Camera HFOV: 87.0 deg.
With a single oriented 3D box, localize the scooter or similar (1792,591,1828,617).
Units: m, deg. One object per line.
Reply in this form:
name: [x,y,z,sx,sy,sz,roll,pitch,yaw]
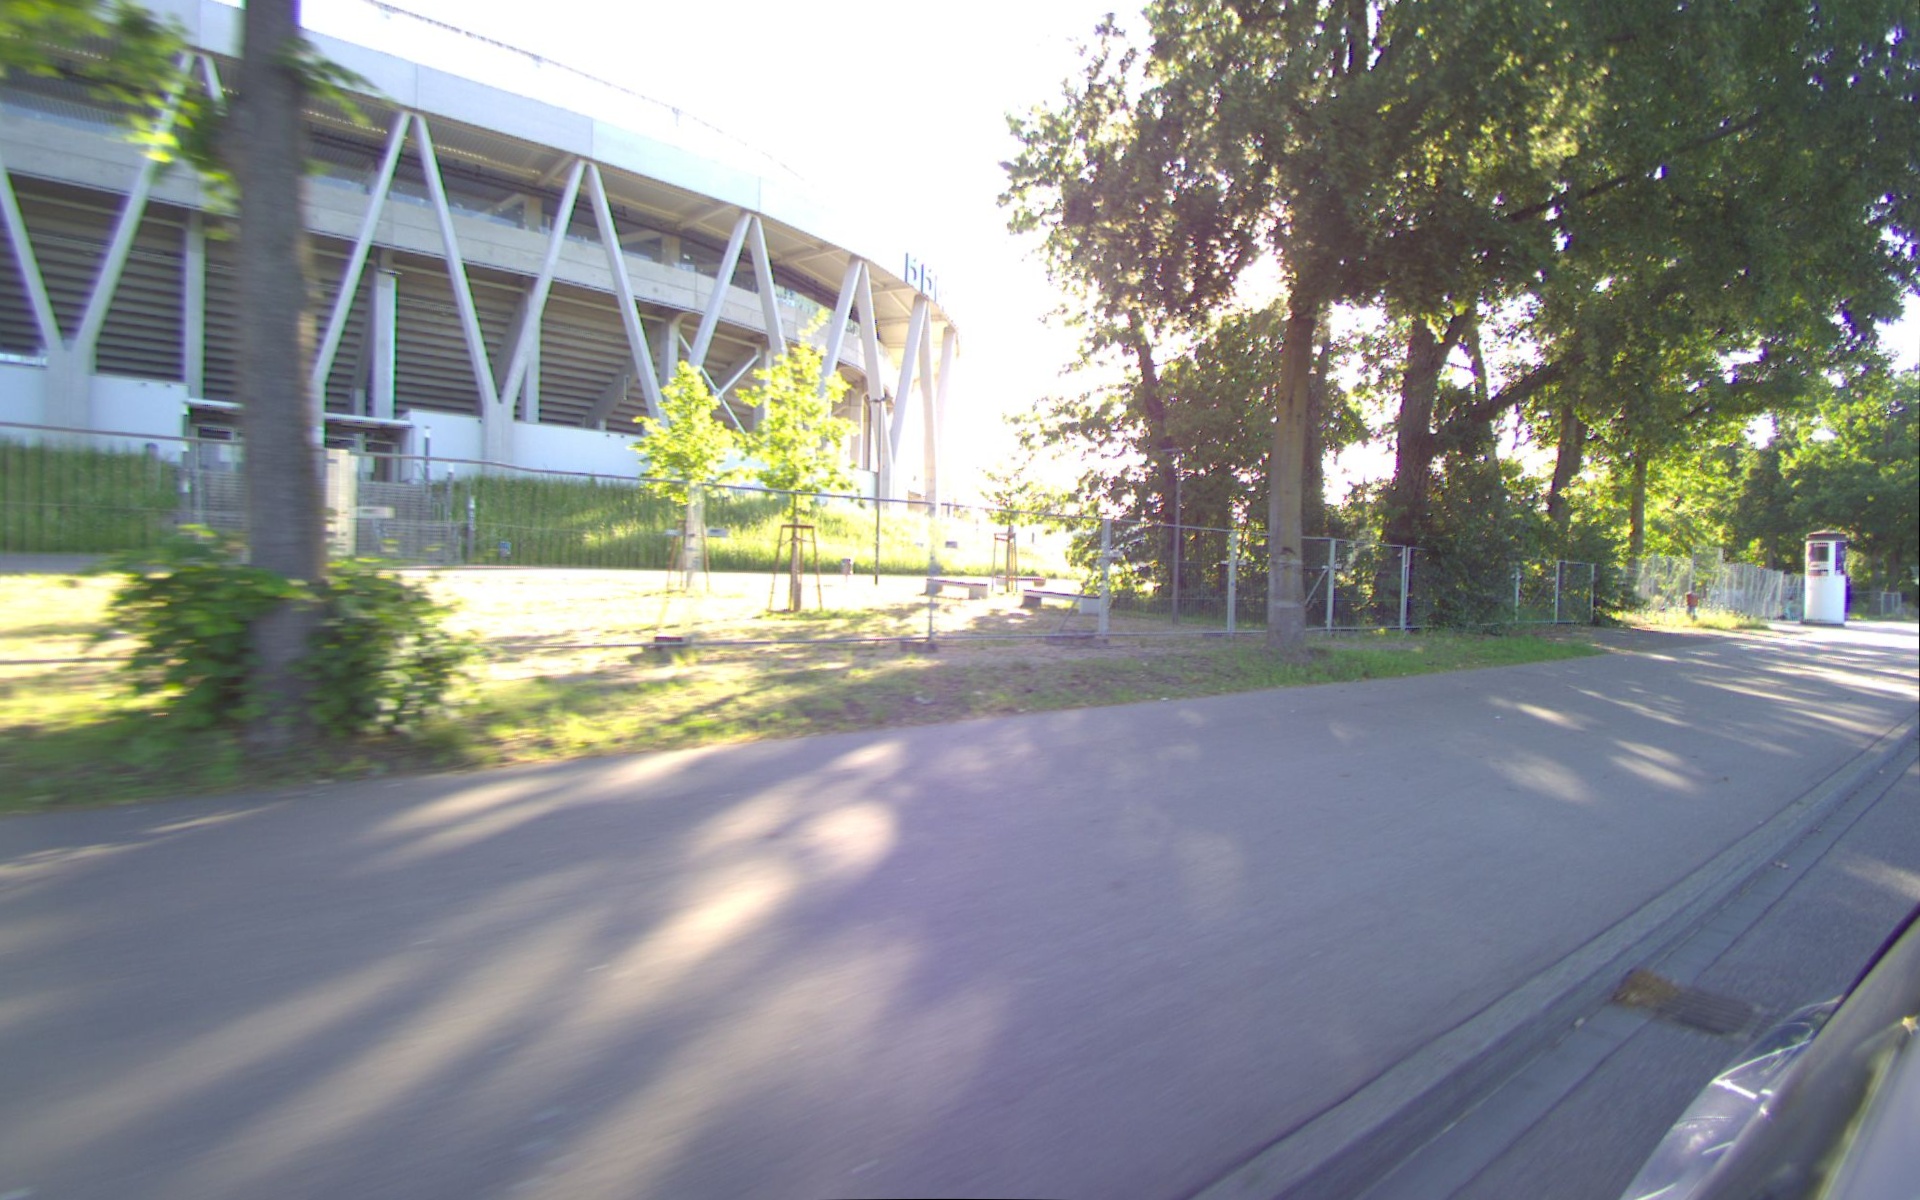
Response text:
scooter or similar: [41.700,0.191,49.654,1.282,1.253,0.334,2,1,14]
